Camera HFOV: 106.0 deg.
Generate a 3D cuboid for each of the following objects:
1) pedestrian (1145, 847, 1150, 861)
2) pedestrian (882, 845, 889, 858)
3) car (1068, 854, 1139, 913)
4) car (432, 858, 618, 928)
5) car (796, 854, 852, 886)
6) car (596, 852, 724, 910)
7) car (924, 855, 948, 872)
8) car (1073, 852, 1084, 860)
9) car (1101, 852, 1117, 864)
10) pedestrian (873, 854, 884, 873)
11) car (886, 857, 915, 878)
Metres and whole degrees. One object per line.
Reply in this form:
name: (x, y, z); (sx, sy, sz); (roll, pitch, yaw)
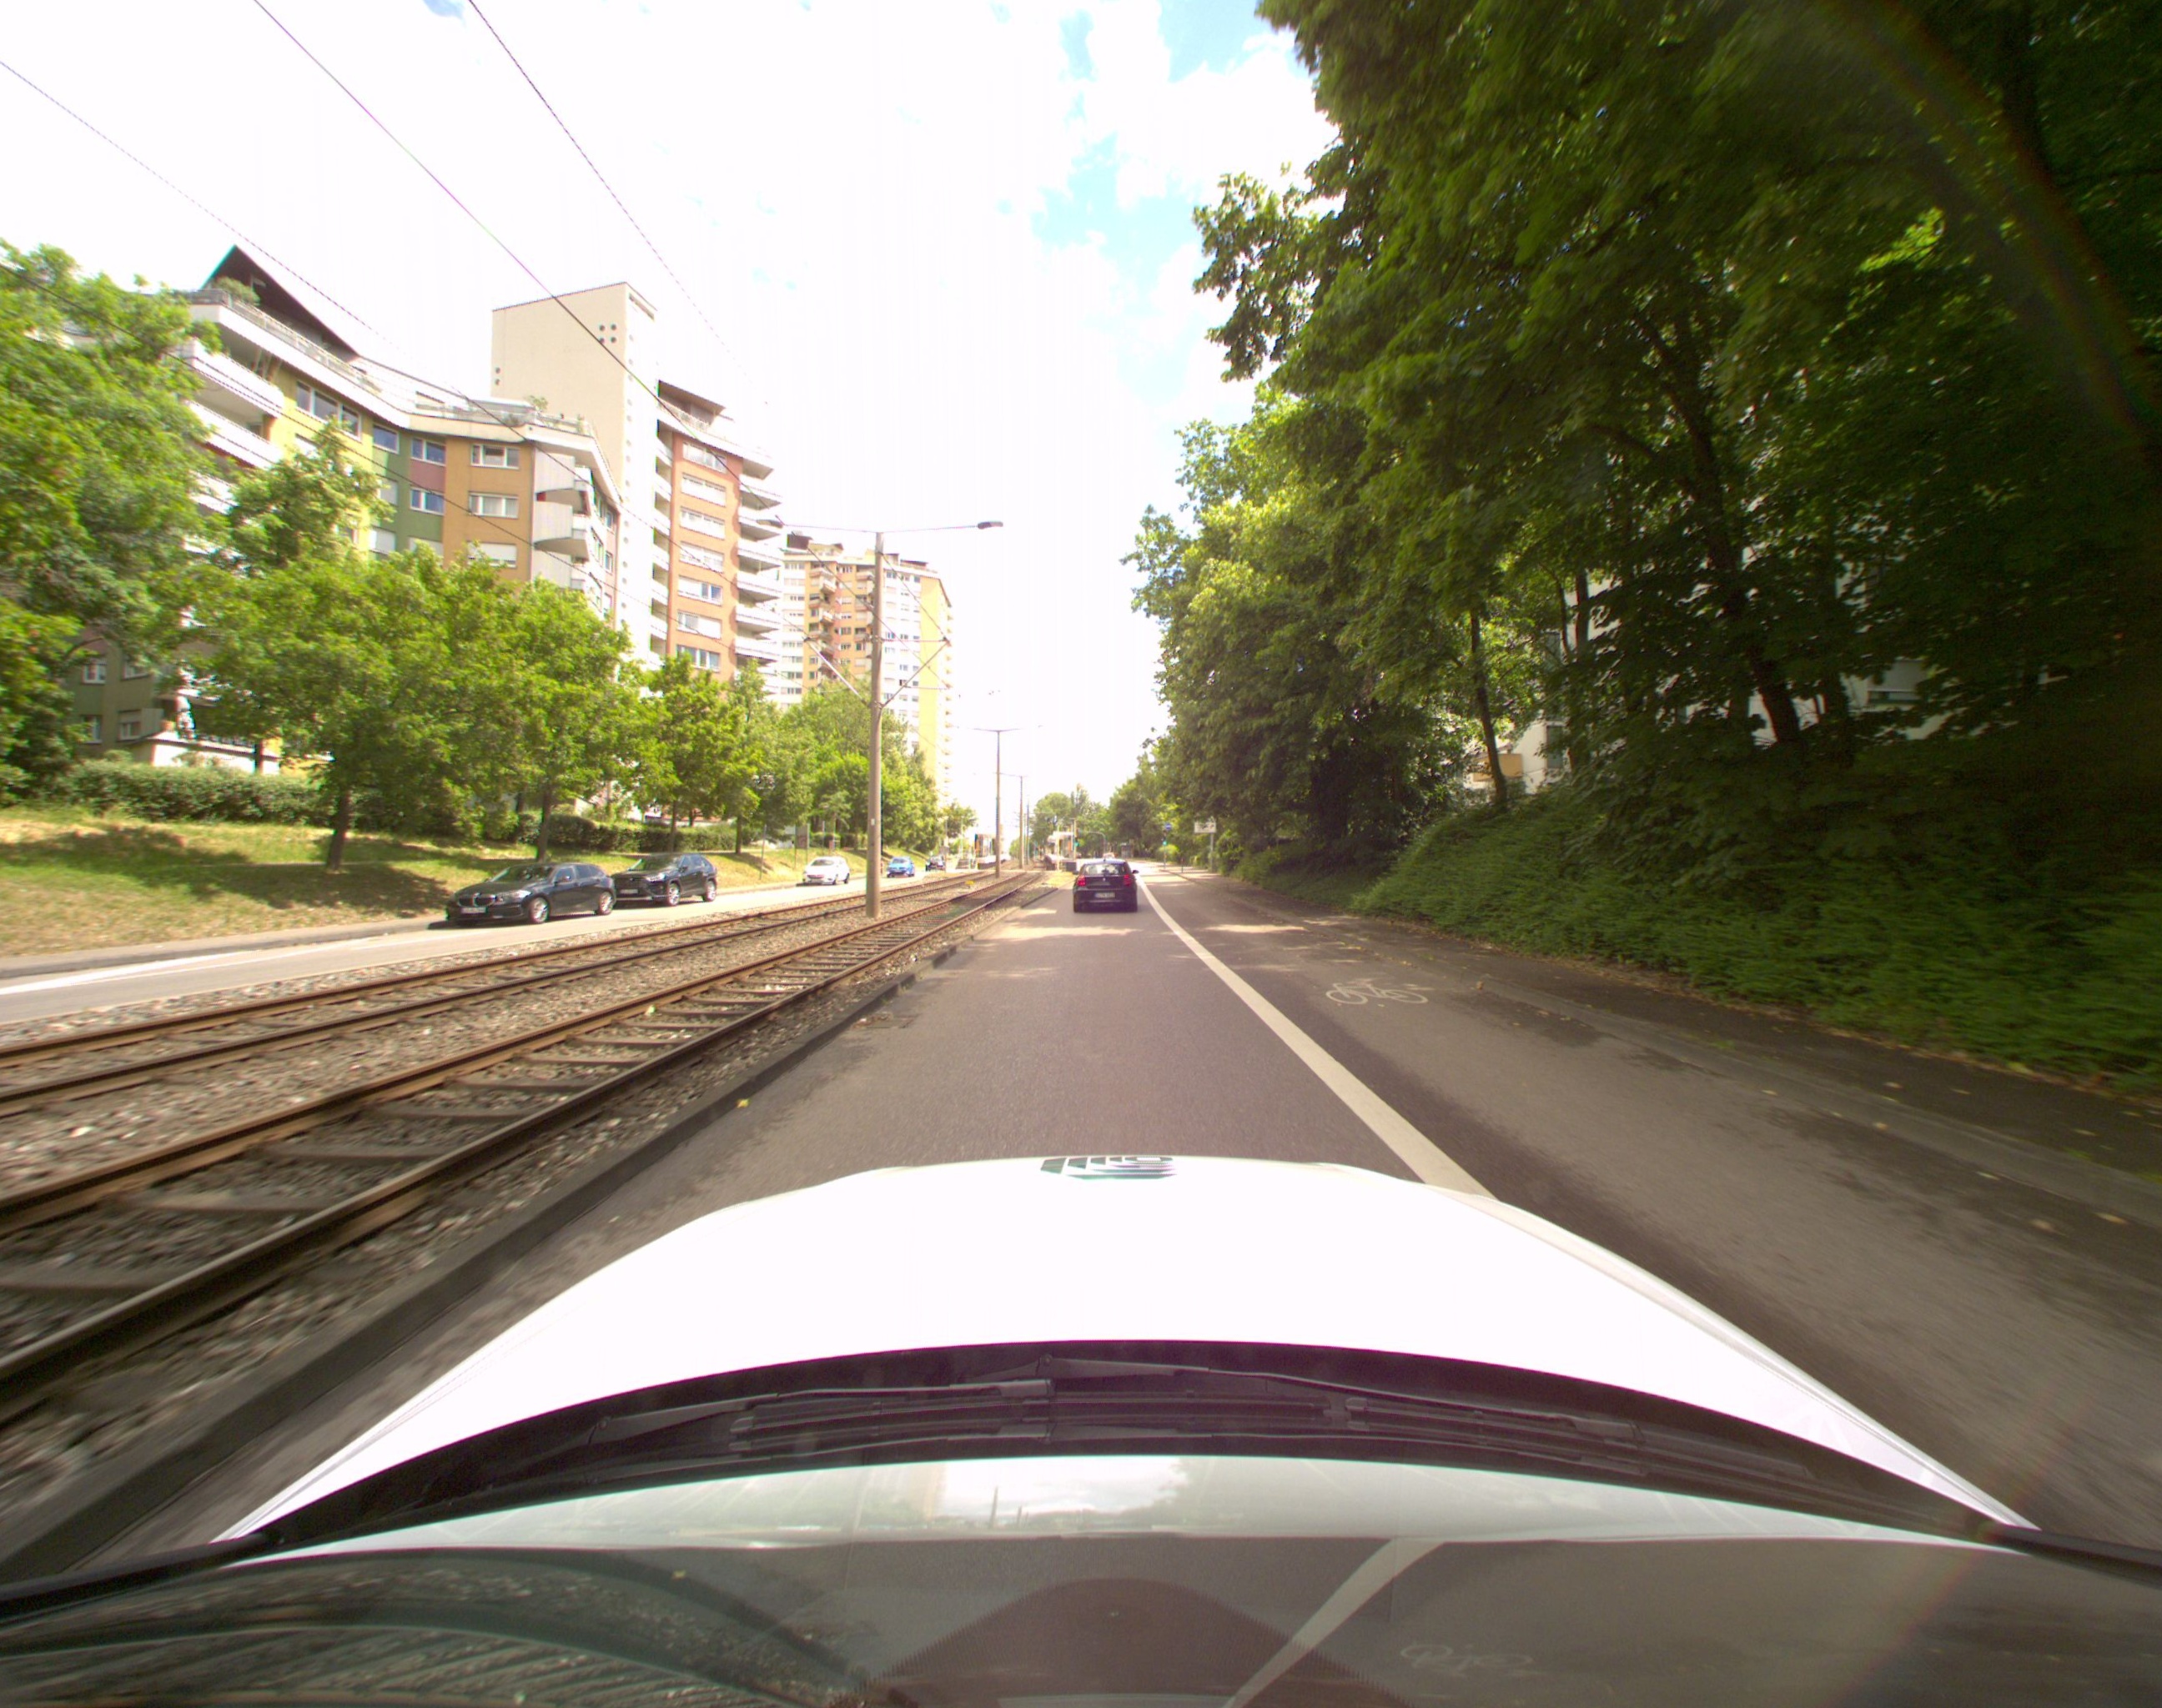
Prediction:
pedestrian: (9.786, -0.029, 120.420); (0.737, 2.013, 0.682); (-1, 0, 2)
pedestrian: (-23.331, -0.348, 97.169); (0.628, 1.534, 0.637); (-1, 0, 19)
car: (0.595, 0.769, 22.885); (1.775, 1.459, 3.921); (-2, 0, 0)
car: (-13.299, 0.858, 19.800); (1.769, 1.498, 3.996); (-1, 0, 0)
car: (-13.577, 0.809, 43.274); (1.777, 1.532, 4.239); (-2, 0, -3)
car: (-13.242, 0.804, 25.943); (1.769, 1.630, 4.381); (-1, -1, 0)
car: (-13.896, 0.909, 78.279); (1.711, 1.564, 3.694); (-1, 0, -2)
car: (-0.509, 0.391, 164.056); (1.905, 1.459, 3.997); (-1, 0, -3)
car: (3.409, 0.446, 100.240); (1.776, 1.459, 3.918); (-1, 0, -2)
pedestrian: (-16.130, 0.764, 64.972); (0.770, 1.534, 0.713); (-1, 0, -18)
car: (-12.633, 0.913, 57.065); (1.715, 1.442, 3.930); (-1, 0, -9)
